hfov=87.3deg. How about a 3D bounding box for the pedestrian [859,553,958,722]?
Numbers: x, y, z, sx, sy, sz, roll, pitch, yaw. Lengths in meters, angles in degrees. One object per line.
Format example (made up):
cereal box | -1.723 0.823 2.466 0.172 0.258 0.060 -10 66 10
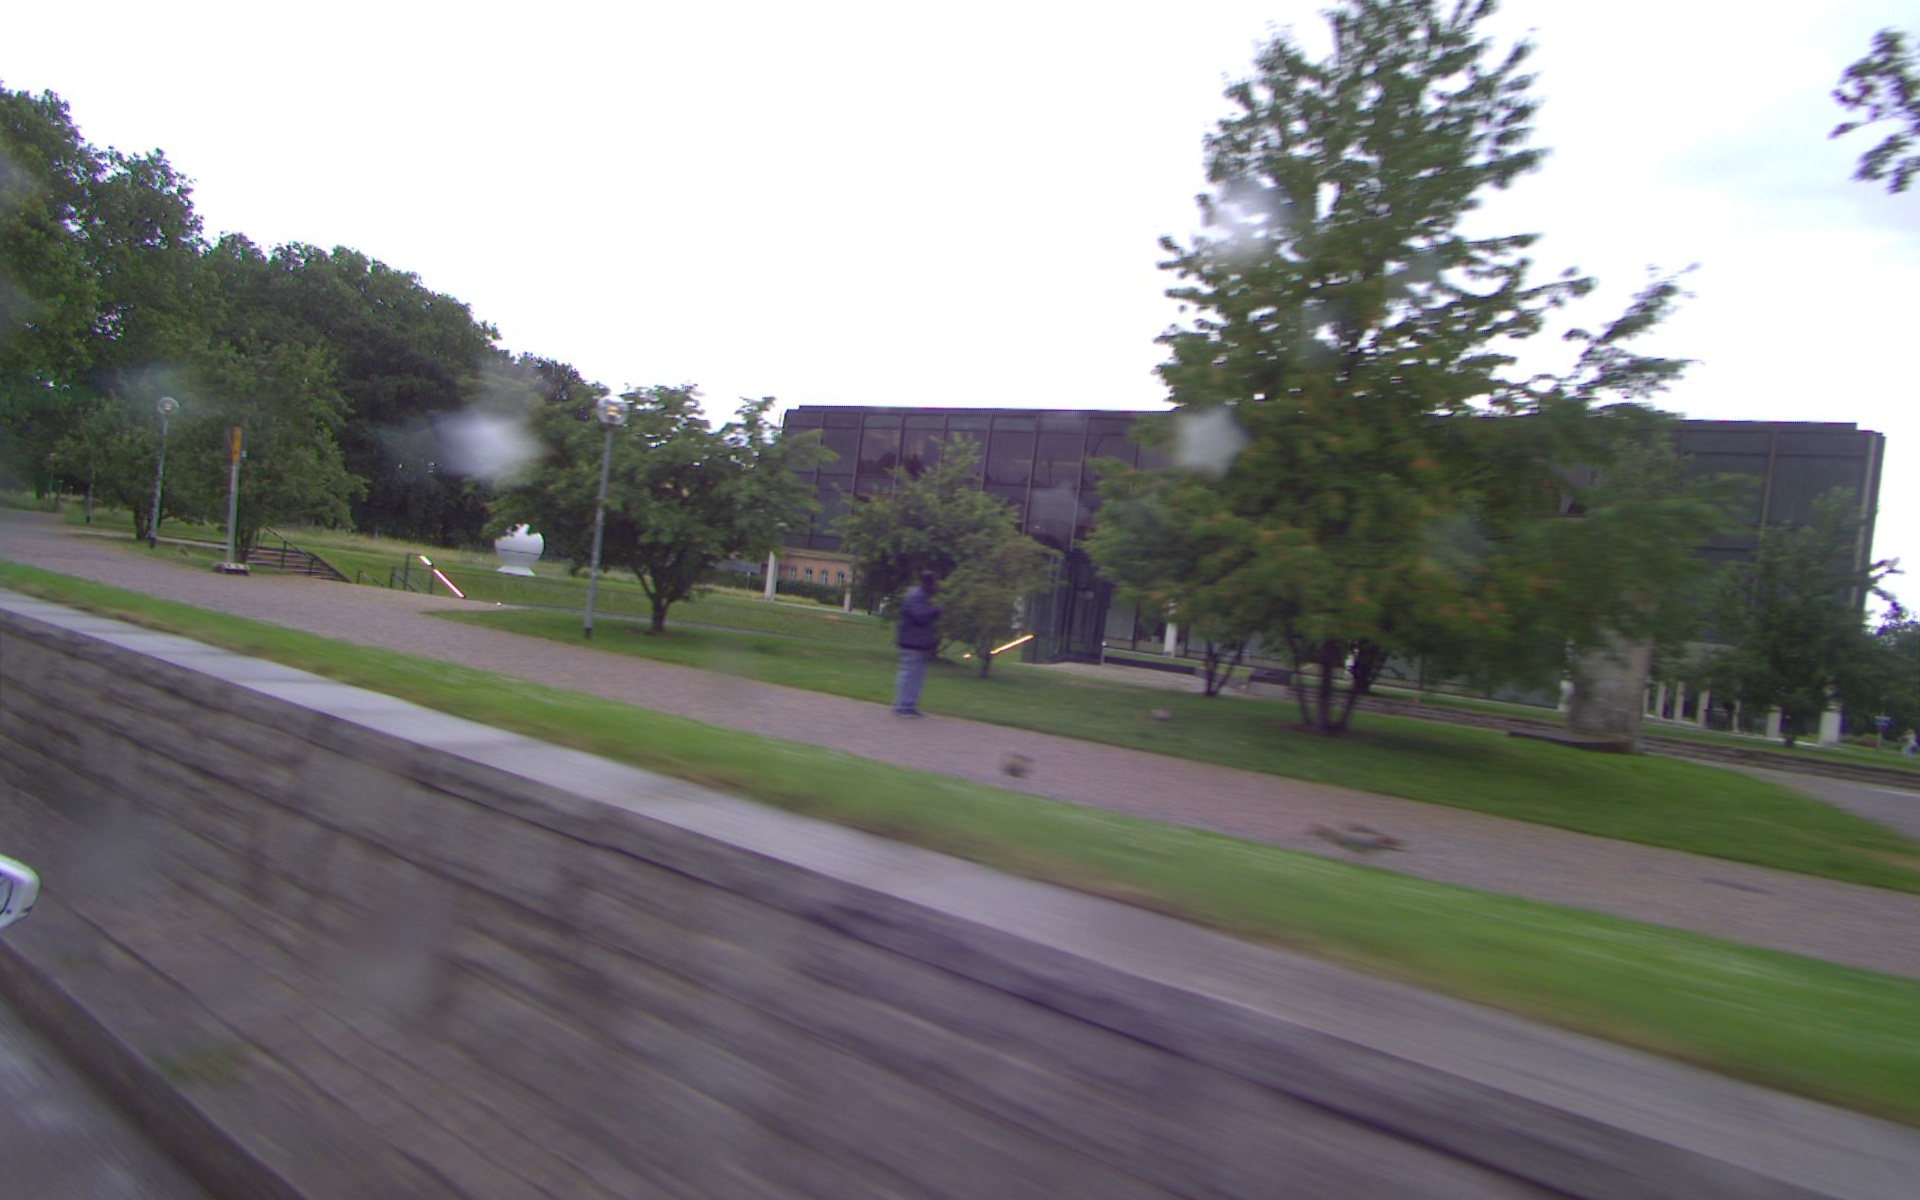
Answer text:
pedestrian | -0.577 0.420 11.328 0.713 1.778 0.595 8 2 27
